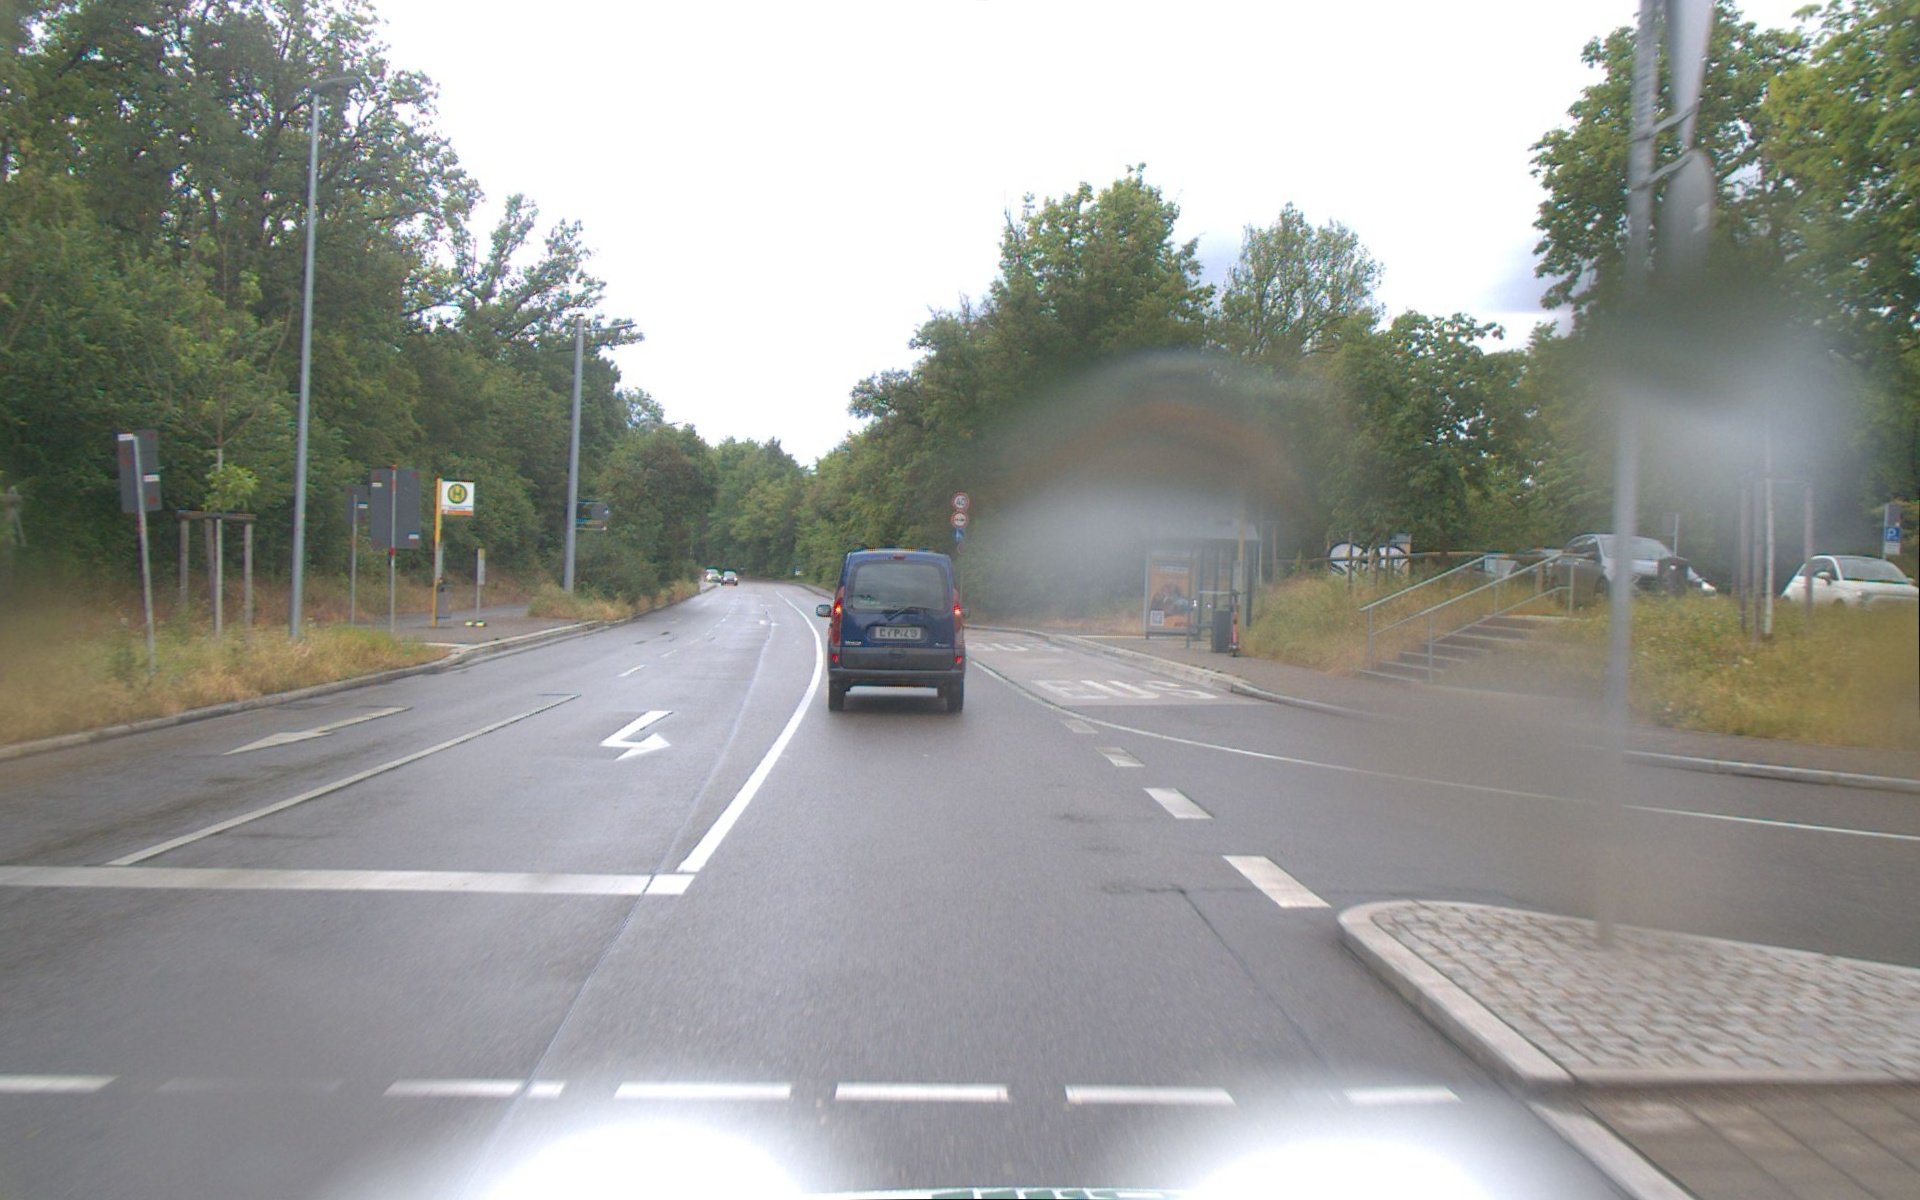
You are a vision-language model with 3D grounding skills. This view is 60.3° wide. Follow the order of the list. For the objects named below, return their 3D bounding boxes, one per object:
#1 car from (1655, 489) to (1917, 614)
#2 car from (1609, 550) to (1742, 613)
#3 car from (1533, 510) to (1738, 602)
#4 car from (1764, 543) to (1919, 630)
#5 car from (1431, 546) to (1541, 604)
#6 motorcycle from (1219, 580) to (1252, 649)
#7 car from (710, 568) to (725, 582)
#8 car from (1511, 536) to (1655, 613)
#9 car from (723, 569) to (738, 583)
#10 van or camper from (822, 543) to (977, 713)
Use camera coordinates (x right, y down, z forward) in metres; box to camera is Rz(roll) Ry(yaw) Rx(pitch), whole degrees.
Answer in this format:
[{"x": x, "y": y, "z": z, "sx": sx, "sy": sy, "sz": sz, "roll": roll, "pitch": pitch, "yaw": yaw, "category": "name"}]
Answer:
[{"x": 13.022, "y": -0.752, "z": 26.380, "sx": 1.954, "sy": 1.690, "sz": 3.999, "roll": 5, "pitch": 1, "yaw": -2, "category": "car"}, {"x": 19.132, "y": -0.460, "z": 44.397, "sx": 1.846, "sy": 1.505, "sz": 4.069, "roll": 4, "pitch": 0, "yaw": 2, "category": "car"}, {"x": 12.825, "y": -0.792, "z": 31.725, "sx": 1.954, "sy": 1.505, "sz": 4.282, "roll": 4, "pitch": 0, "yaw": -3, "category": "car"}, {"x": 17.752, "y": -0.226, "z": 32.631, "sx": 1.846, "sy": 1.505, "sz": 4.069, "roll": 4, "pitch": 0, "yaw": 2, "category": "car"}, {"x": 15.626, "y": -0.696, "z": 49.398, "sx": 1.846, "sy": 1.505, "sz": 4.783, "roll": 4, "pitch": 0, "yaw": 2, "category": "car"}, {"x": 5.381, "y": 0.271, "z": 32.300, "sx": 0.576, "sy": 1.311, "sz": 1.539, "roll": 1, "pitch": 1, "yaw": 11, "category": "motorcycle"}, {"x": -29.869, "y": -3.124, "z": 203.719, "sx": 1.738, "sy": 1.638, "sz": 4.078, "roll": 2, "pitch": 1, "yaw": -7, "category": "car"}, {"x": 15.869, "y": -0.653, "z": 42.365, "sx": 1.953, "sy": 1.690, "sz": 4.473, "roll": 5, "pitch": 1, "yaw": 1, "category": "car"}, {"x": -25.014, "y": -2.662, "z": 180.526, "sx": 1.569, "sy": 1.466, "sz": 3.984, "roll": 0, "pitch": 1, "yaw": -8, "category": "car"}, {"x": -0.839, "y": 0.289, "z": 20.365, "sx": 1.679, "sy": 1.857, "sz": 3.996, "roll": 1, "pitch": 0, "yaw": -5, "category": "van or camper"}]
